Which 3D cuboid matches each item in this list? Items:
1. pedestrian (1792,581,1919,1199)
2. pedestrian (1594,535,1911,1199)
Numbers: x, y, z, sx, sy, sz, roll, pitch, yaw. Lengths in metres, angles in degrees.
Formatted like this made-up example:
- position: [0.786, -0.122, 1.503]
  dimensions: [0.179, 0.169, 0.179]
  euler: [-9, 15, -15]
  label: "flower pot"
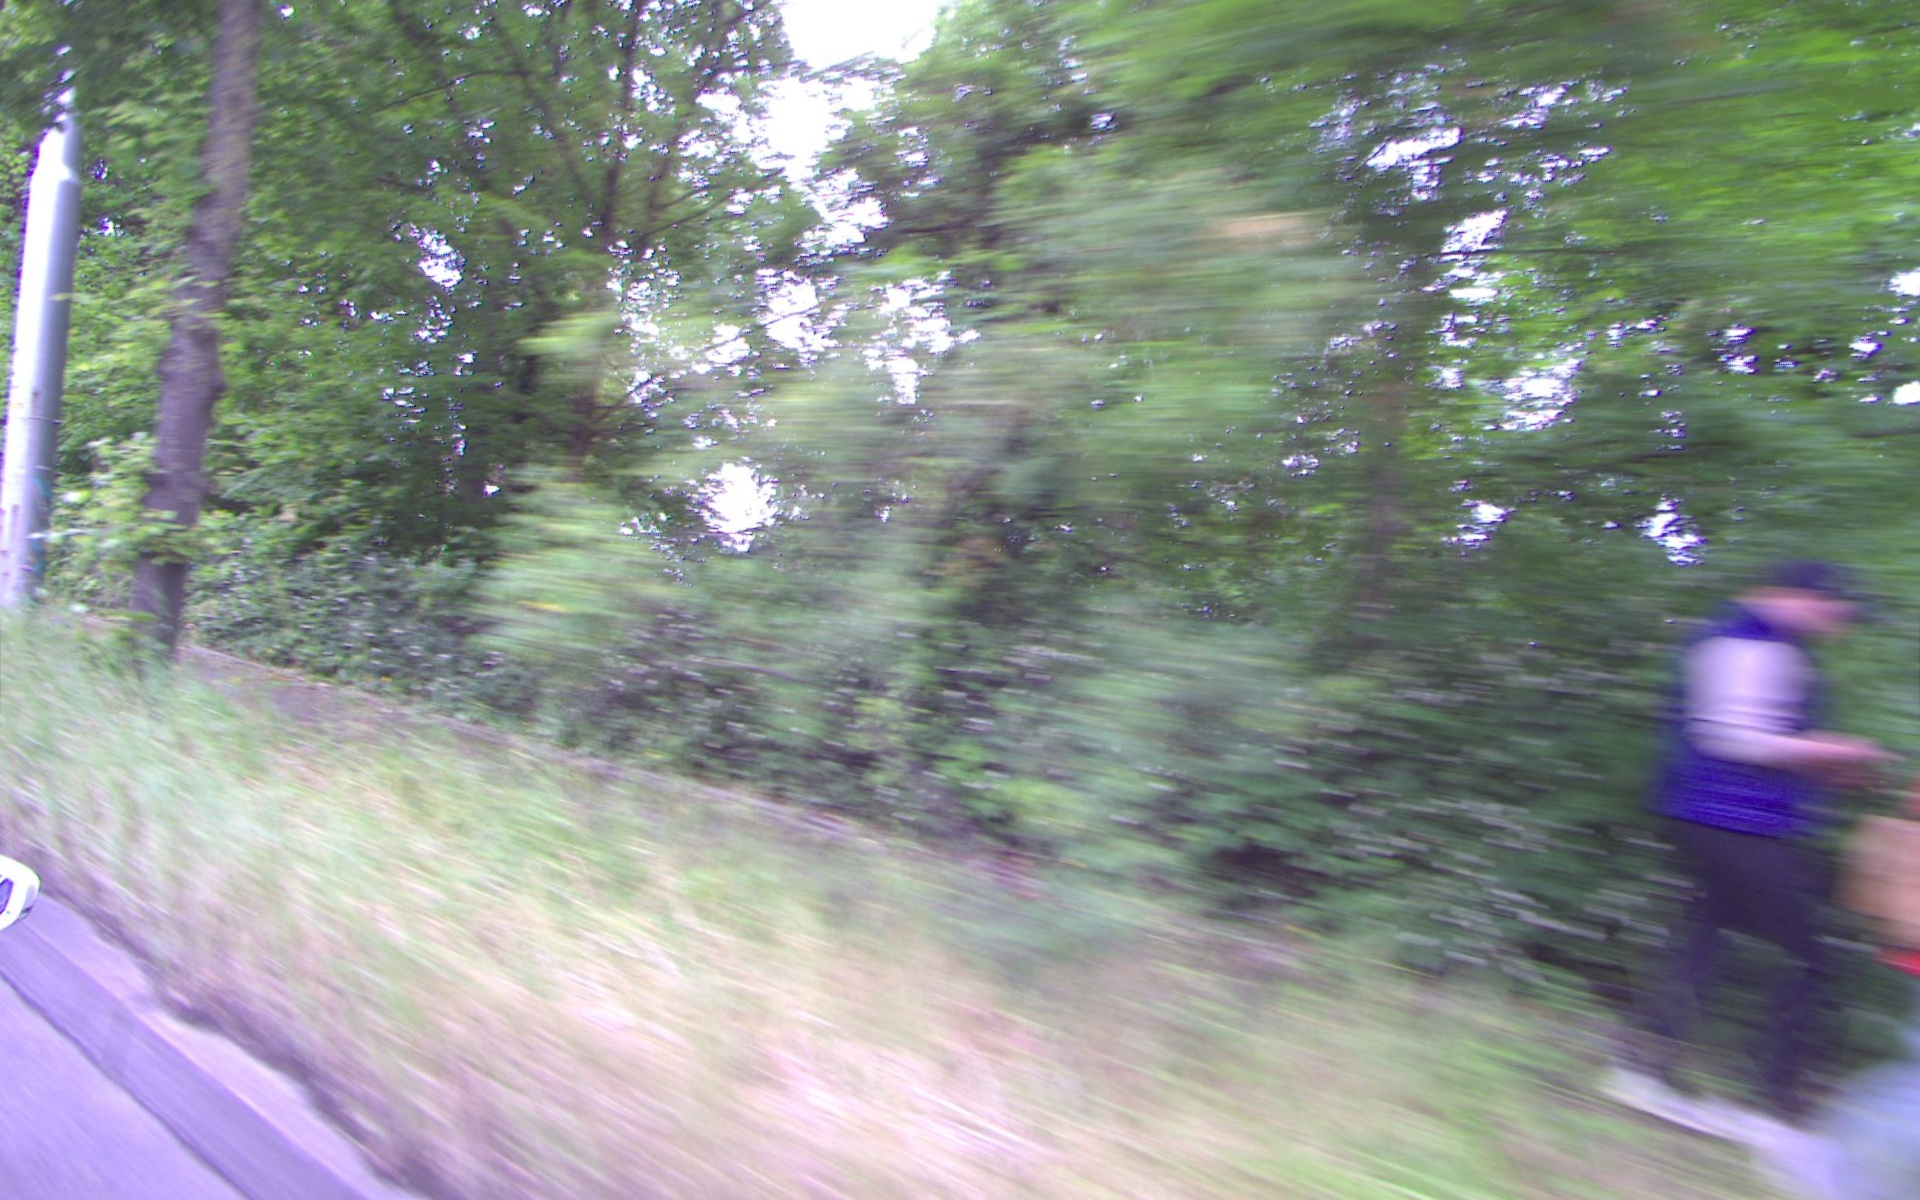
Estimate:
- position: [2.521, 0.847, 2.427]
  dimensions: [0.539, 1.718, 0.610]
  euler: [6, -1, 29]
  label: "pedestrian"
- position: [2.355, 0.737, 3.059]
  dimensions: [0.516, 1.774, 0.520]
  euler: [6, -1, 28]
  label: "pedestrian"
